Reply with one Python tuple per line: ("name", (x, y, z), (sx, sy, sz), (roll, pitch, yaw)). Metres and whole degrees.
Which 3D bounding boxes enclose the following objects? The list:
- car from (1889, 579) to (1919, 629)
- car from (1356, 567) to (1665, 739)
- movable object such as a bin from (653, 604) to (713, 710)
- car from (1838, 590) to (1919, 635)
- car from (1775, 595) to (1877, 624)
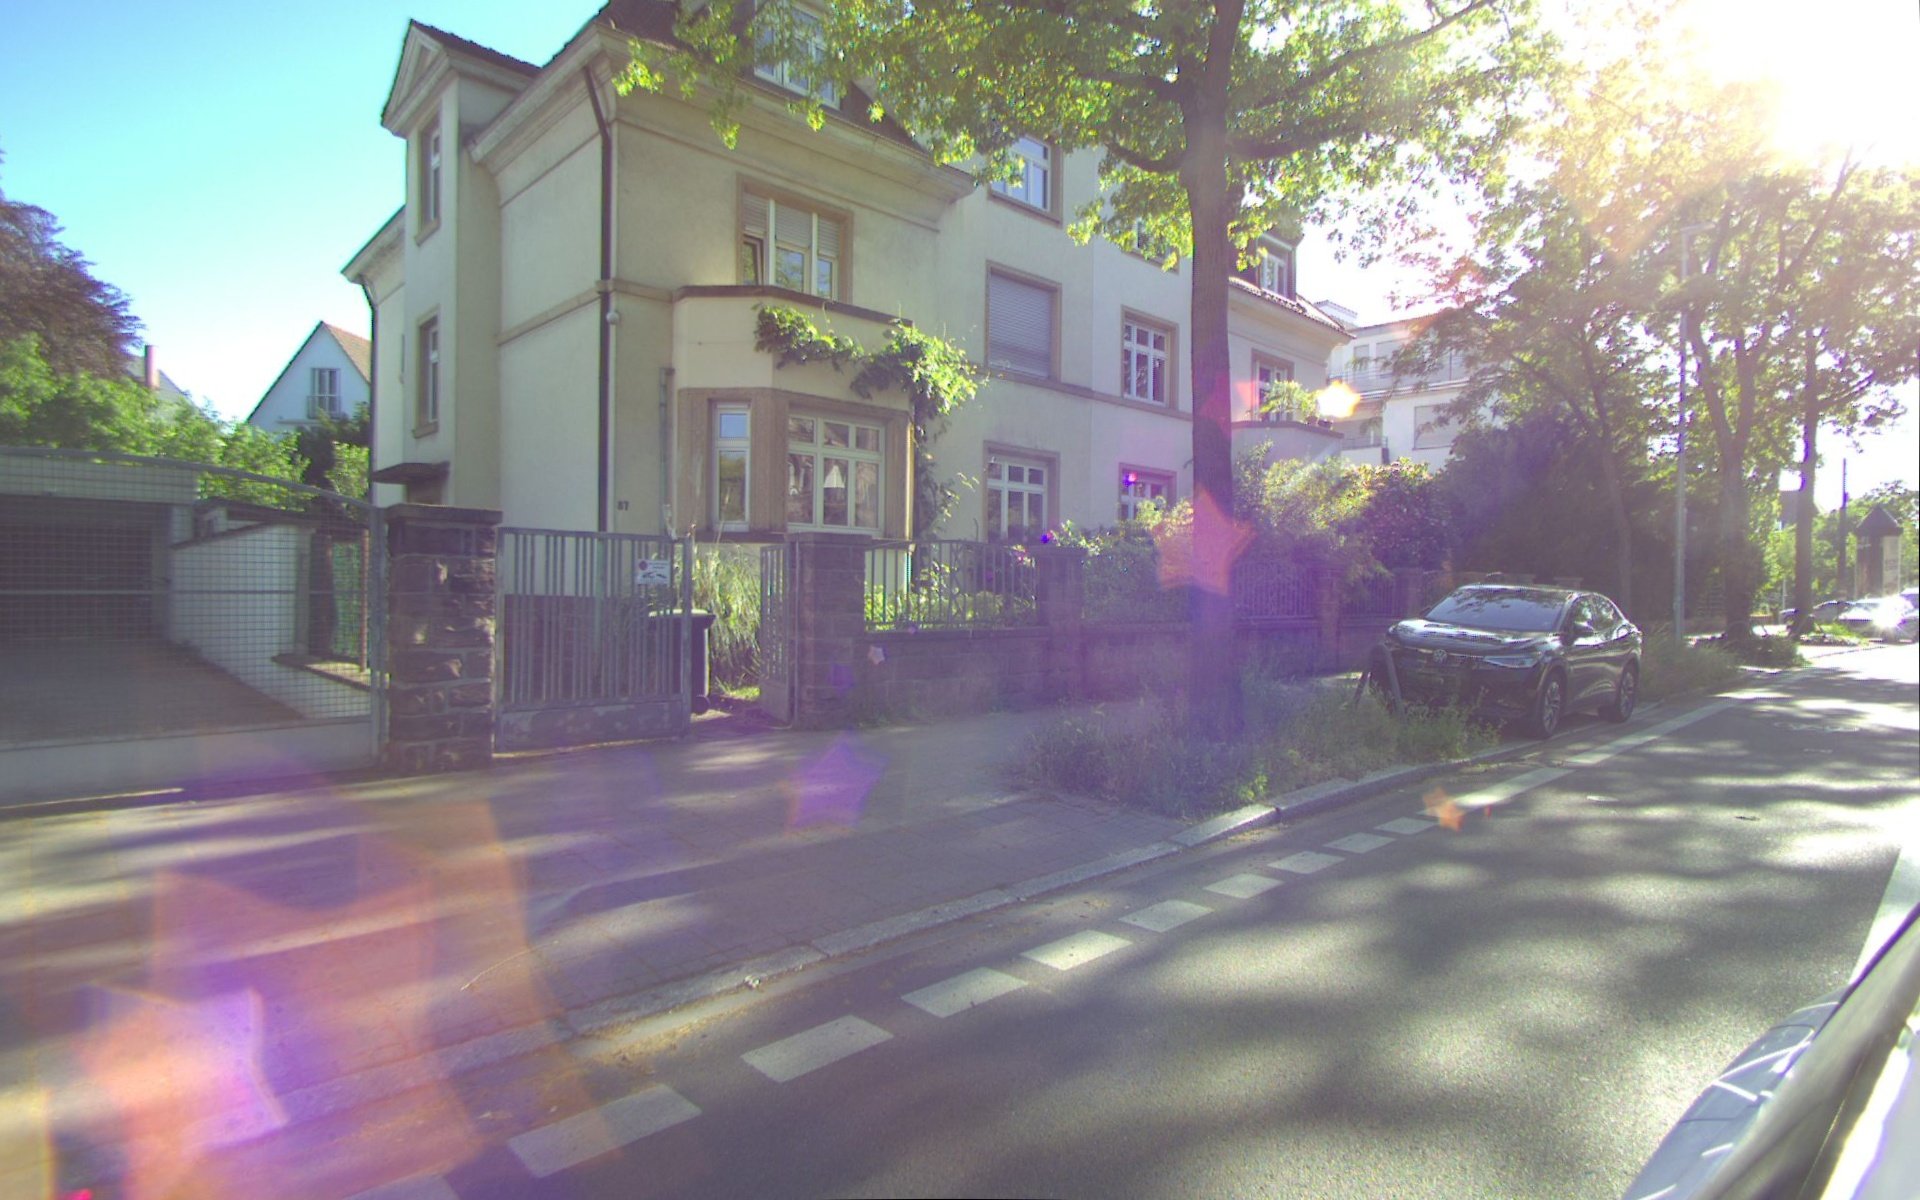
("car", (36.665, 0.134, 37.862), (4.580, 1.808, 1.903), (0, 1, -35))
("car", (6.703, 0.497, 12.142), (4.186, 1.619, 1.917), (0, 4, -42))
("movable object such as a bin", (-2.929, 0.584, 10.676), (0.551, 1.062, 0.676), (0, 0, -20))
("car", (31.505, 0.386, 34.280), (4.181, 1.427, 1.901), (0, 1, -38))
("car", (46.059, 0.464, 53.846), (1.784, 1.459, 3.990), (0, 1, -44))
